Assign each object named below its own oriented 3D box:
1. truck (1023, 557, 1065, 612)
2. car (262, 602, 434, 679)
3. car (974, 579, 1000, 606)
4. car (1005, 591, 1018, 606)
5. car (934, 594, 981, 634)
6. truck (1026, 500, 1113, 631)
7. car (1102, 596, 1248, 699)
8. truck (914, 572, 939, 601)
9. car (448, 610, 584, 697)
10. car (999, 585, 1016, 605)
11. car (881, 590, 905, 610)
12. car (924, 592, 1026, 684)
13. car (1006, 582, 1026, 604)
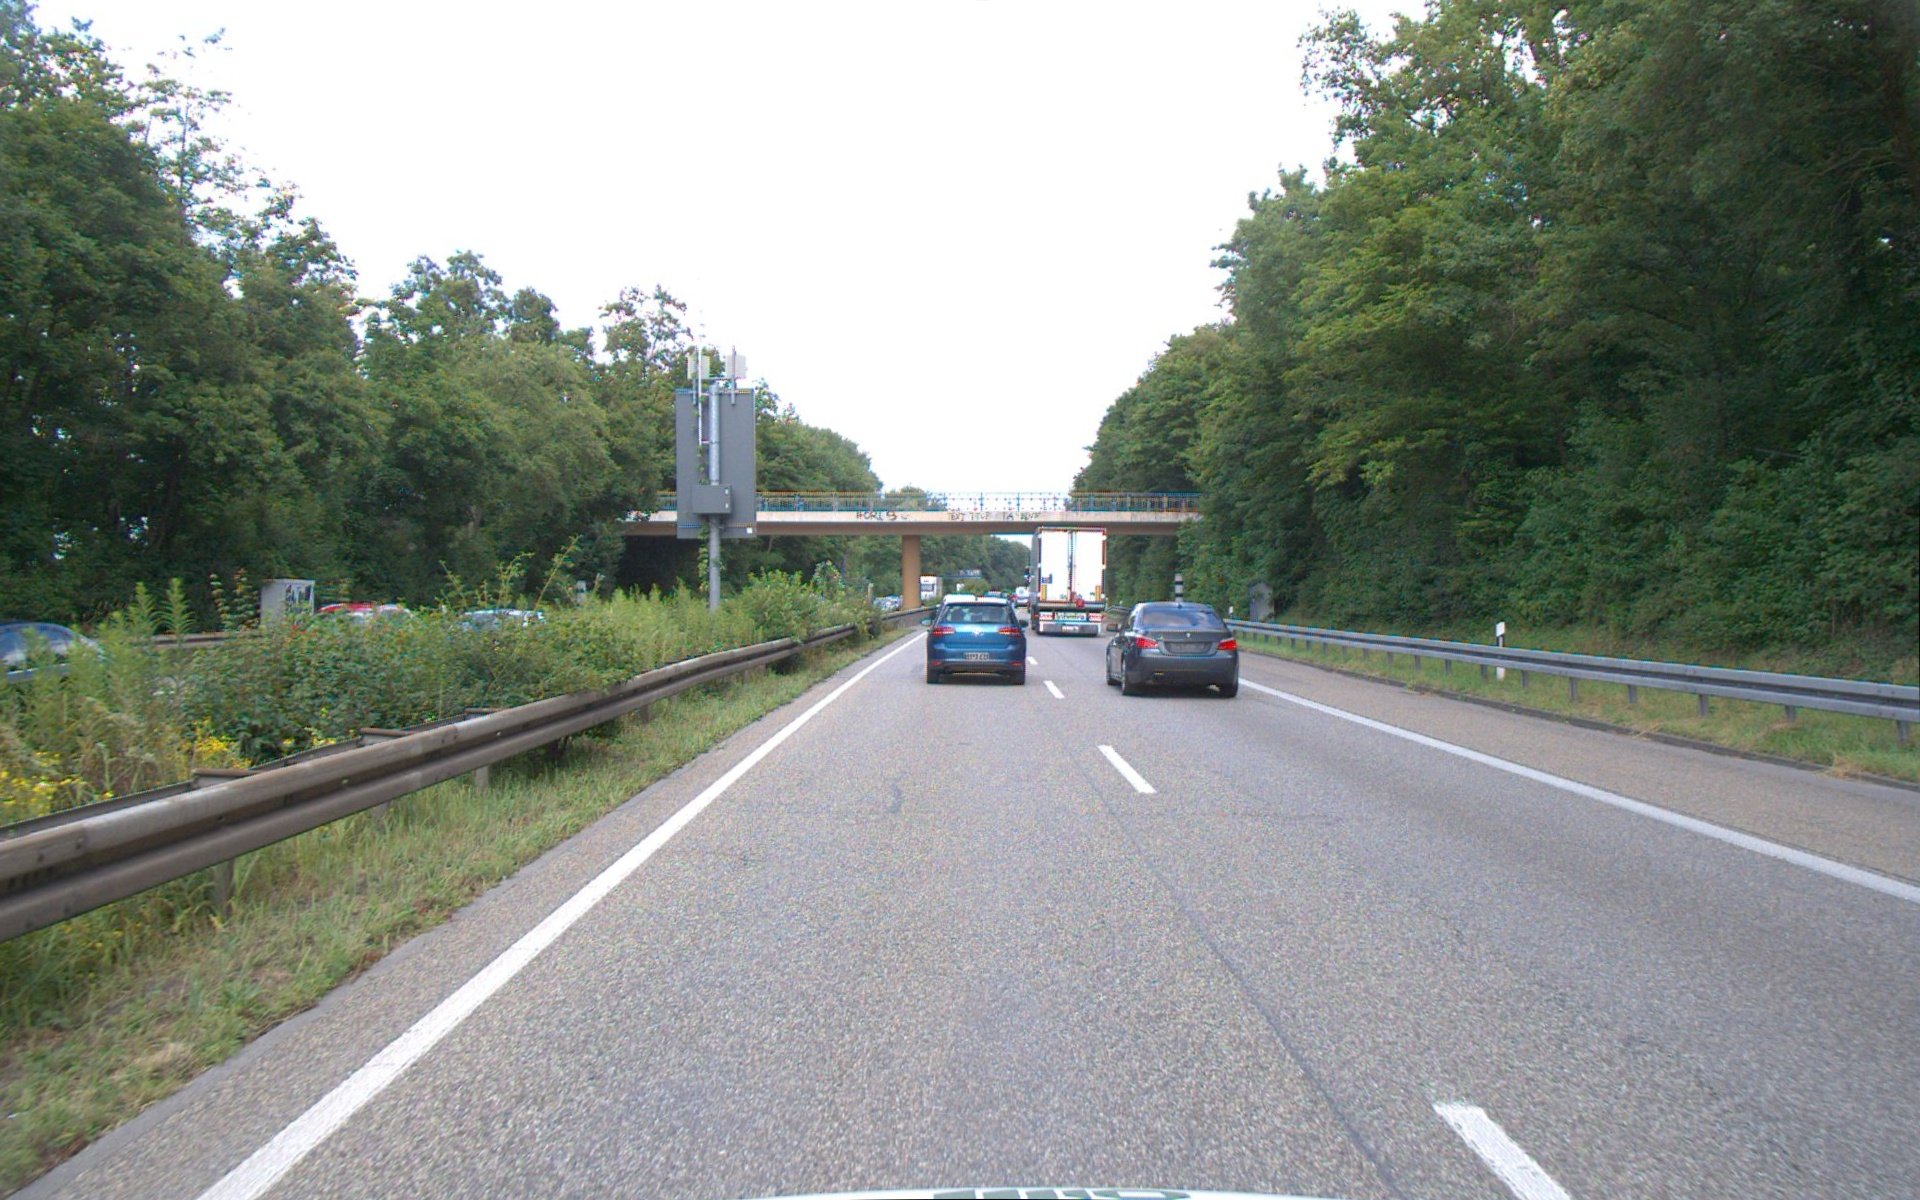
[{"bbox_3d":[7.105,-1.238,140.796,3.165,4.463,12.972,1,0,1],"label":"truck"},{"bbox_3d":[-12.033,0.749,32.824,1.825,1.377,4.250,-1,0,0],"label":"car"},{"bbox_3d":[2.110,-0.587,129.213,1.913,2.049,4.001,-1,0,2],"label":"car"},{"bbox_3d":[8.051,-0.241,258.400,1.952,2.294,4.442,-1,0,0],"label":"car"},{"bbox_3d":[-0.059,0.523,64.808,1.630,1.526,4.153,1,0,3],"label":"car"},{"bbox_3d":[4.444,-1.319,66.384,3.174,4.798,11.013,0,0,4],"label":"truck"},{"bbox_3d":[3.415,0.696,27.081,1.738,1.501,4.880,1,0,0],"label":"car"},{"bbox_3d":[-4.679,-1.858,231.483,2.976,4.056,6.751,-1,0,3],"label":"truck"},{"bbox_3d":[-8.043,0.938,30.229,1.581,1.448,3.323,0,0,0],"label":"car"},{"bbox_3d":[5.819,-0.623,201.412,1.952,2.368,4.442,-1,0,0],"label":"car"},{"bbox_3d":[-5.796,-0.020,143.376,1.827,1.617,4.566,-1,0,1],"label":"car"},{"bbox_3d":[0.325,0.630,29.428,1.669,1.495,4.001,1,0,2],"label":"car"},{"bbox_3d":[5.969,-0.733,177.416,1.952,2.294,4.442,-1,0,0],"label":"car"}]
